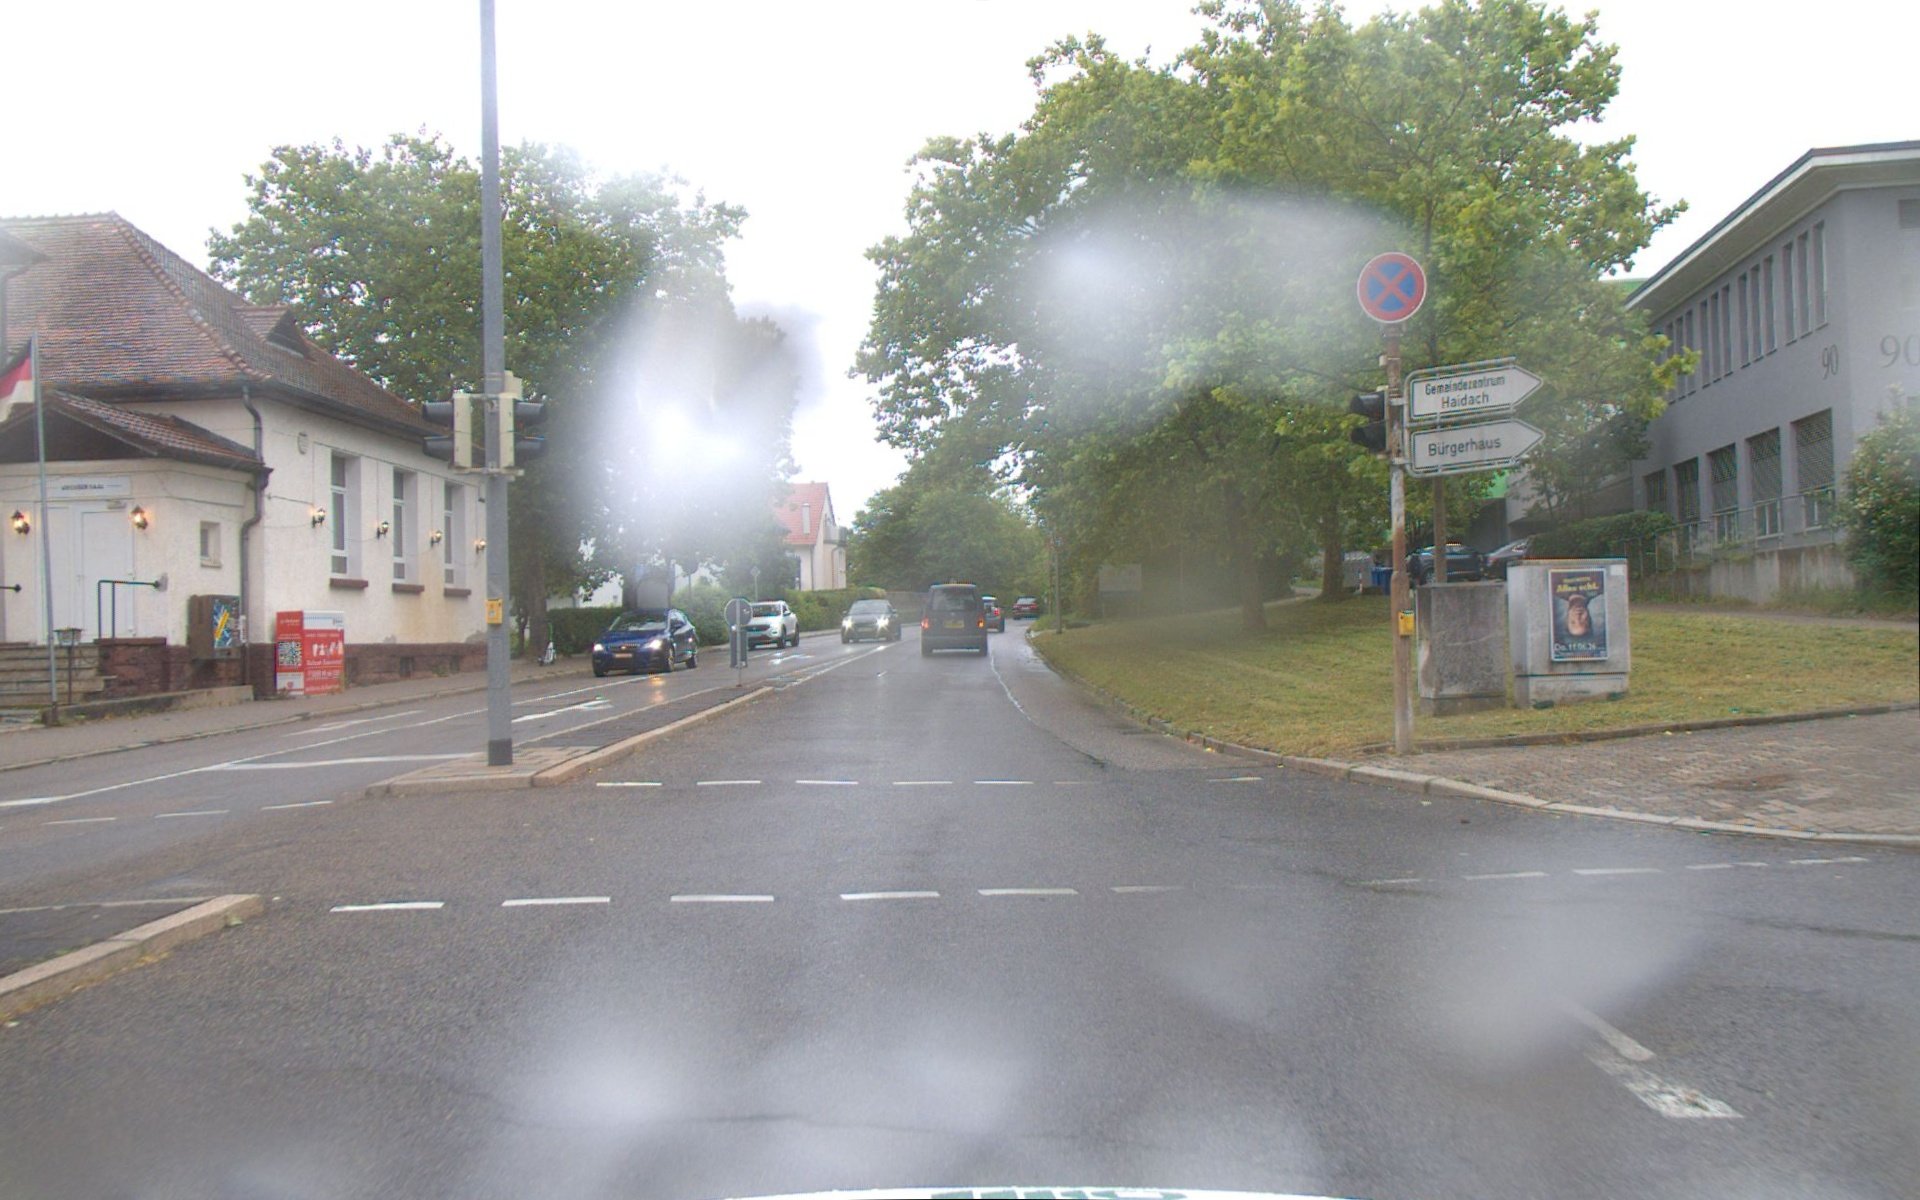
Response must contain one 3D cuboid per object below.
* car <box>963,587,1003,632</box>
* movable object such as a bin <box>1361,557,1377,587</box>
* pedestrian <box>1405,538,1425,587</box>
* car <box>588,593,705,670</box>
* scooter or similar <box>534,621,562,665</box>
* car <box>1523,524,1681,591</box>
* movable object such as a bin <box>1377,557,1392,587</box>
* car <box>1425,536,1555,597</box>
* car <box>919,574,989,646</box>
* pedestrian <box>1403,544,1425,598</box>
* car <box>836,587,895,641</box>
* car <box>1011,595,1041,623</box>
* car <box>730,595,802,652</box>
[{"bbox_3d":[0.956,0.387,69.943,1.670,1.840,3.684,0,0,0],"label":"car"},{"bbox_3d":[12.665,-0.860,51.257,0.440,0.921,0.463,0,0,19],"label":"movable object such as a bin"},{"bbox_3d":[15.306,-1.253,55.656,0.588,1.645,0.526,0,0,10],"label":"pedestrian"},{"bbox_3d":[-7.144,0.671,38.066,1.756,1.554,4.210,-2,1,1],"label":"car"},{"bbox_3d":[-10.504,1.098,42.186,0.382,1.083,1.410,0,0,-1],"label":"scooter or similar"},{"bbox_3d":[18.218,-1.190,47.118,3.902,1.847,2.002,0,0,11],"label":"car"},{"bbox_3d":[13.116,-0.859,51.097,0.440,0.921,0.463,0,0,19],"label":"movable object such as a bin"},{"bbox_3d":[17.424,-1.075,54.525,3.902,1.965,2.002,0,0,13],"label":"car"},{"bbox_3d":[-0.132,0.262,43.995,1.775,1.840,3.756,0,0,0],"label":"car"},{"bbox_3d":[15.246,-0.963,55.524,0.546,1.794,0.728,0,0,-1],"label":"pedestrian"},{"bbox_3d":[-3.240,0.457,57.411,1.711,1.700,3.708,-2,1,1],"label":"car"},{"bbox_3d":[4.486,0.604,112.875,1.952,1.915,4.000,0,0,1],"label":"car"},{"bbox_3d":[-6.493,0.755,55.689,1.792,1.700,4.052,-2,1,1],"label":"car"}]
